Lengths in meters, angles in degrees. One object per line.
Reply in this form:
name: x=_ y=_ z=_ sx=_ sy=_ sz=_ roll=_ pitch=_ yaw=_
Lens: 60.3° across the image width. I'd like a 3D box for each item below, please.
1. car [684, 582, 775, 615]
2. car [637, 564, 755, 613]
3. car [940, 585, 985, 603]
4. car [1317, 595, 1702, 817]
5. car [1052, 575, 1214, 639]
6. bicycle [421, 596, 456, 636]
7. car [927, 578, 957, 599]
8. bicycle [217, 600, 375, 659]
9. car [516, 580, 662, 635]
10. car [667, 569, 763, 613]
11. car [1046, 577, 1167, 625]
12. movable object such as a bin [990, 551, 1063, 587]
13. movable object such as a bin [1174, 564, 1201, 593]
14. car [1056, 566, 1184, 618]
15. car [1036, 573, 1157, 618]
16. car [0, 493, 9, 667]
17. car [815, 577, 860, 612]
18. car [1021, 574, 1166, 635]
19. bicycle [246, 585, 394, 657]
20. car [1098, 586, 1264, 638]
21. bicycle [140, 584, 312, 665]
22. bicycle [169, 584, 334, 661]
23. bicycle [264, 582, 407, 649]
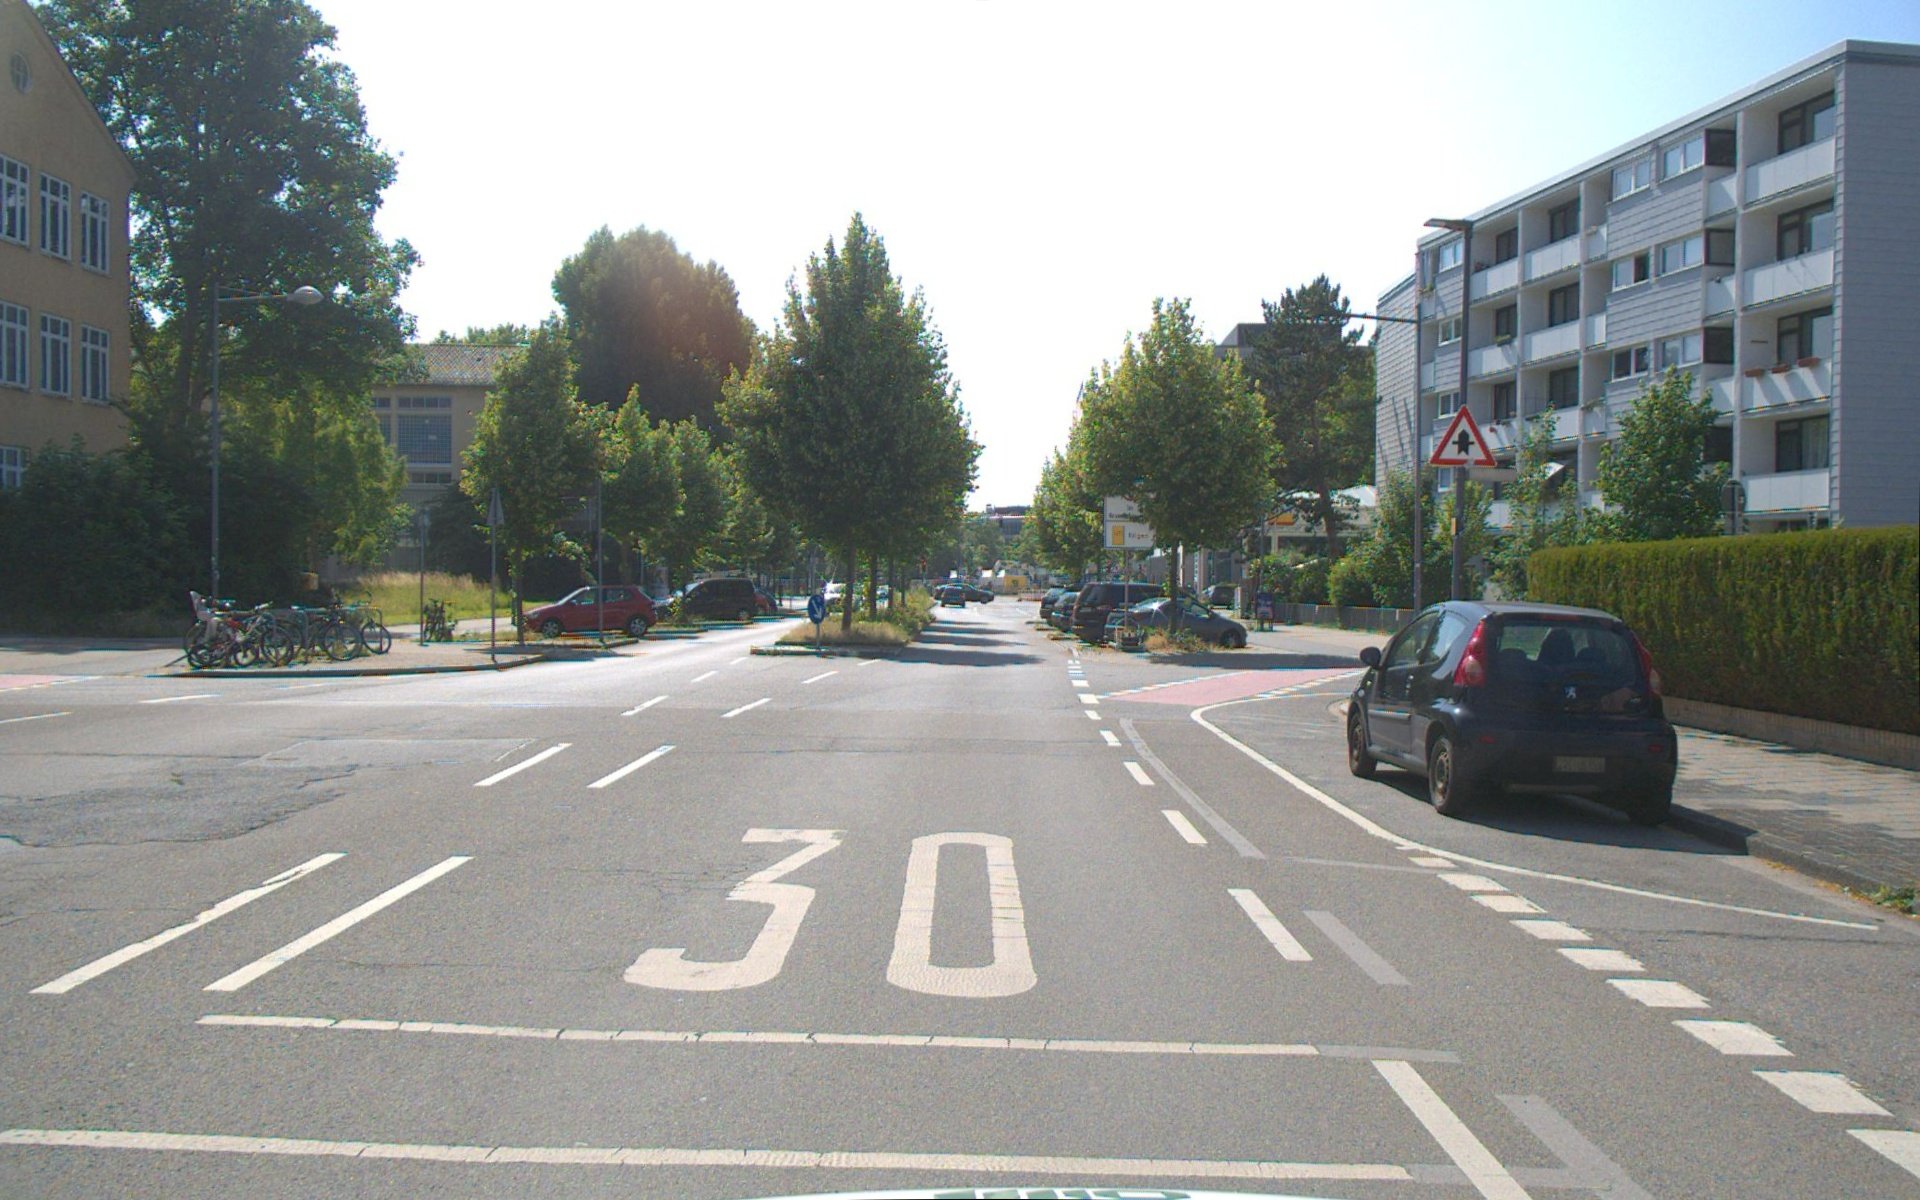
car: x=-10.459 y=-0.060 z=75.115 sx=3.799 sy=1.448 sz=1.694 roll=0 pitch=0 yaw=-36
car: x=-10.249 y=-0.473 z=64.429 sx=4.145 sy=1.848 sz=1.978 roll=-1 pitch=2 yaw=-38
car: x=0.189 y=-0.512 z=132.281 sx=3.530 sy=1.401 sz=1.637 roll=1 pitch=0 yaw=-2
car: x=4.077 y=0.698 z=12.966 sx=1.584 sy=1.414 sz=3.999 roll=2 pitch=0 yaw=-1
car: x=4.743 y=0.176 z=45.280 sx=4.069 sy=1.668 sz=2.021 roll=0 pitch=1 yaw=-33
bicycle: x=-12.542 y=0.377 z=39.820 sx=0.510 sy=0.919 sz=1.269 roll=-1 pitch=0 yaw=-4
car: x=-1.280 y=-0.790 z=116.538 sx=1.954 sy=1.422 sz=3.998 roll=1 pitch=1 yaw=-3
bicycle: x=-11.898 y=0.521 z=29.691 sx=2.493 sy=1.005 sz=0.739 roll=-1 pitch=1 yaw=-2
car: x=-10.832 y=0.196 z=48.284 sx=3.929 sy=1.492 sz=1.988 roll=-1 pitch=1 yaw=-21
car: x=-10.425 y=-0.384 z=70.420 sx=3.717 sy=1.803 sz=1.804 roll=0 pitch=0 yaw=-27
car: x=5.174 y=0.025 z=58.561 sx=3.916 sy=1.668 sz=1.748 roll=0 pitch=0 yaw=-12
movable object such as a bin: x=8.838 y=-4.067 z=218.964 sx=9.474 sy=4.629 sz=3.165 roll=1 pitch=1 yaw=2
movable object such as a bin: x=13.307 y=-1.270 z=96.636 sx=1.281 sy=1.620 sz=1.395 roll=-2 pitch=0 yaw=-2
car: x=5.370 y=-0.277 z=55.650 sx=3.928 sy=1.668 sz=1.743 roll=0 pitch=1 yaw=-20
car: x=5.367 y=-0.188 z=64.751 sx=4.688 sy=1.689 sz=1.733 roll=0 pitch=1 yaw=-34
car: x=-17.261 y=-0.246 z=23.748 sx=5.986 sy=2.568 sz=2.285 roll=-1 pitch=1 yaw=5
car: x=-5.799 y=-0.273 z=78.743 sx=1.705 sy=1.574 sz=4.074 roll=-1 pitch=0 yaw=1
car: x=3.902 y=0.149 z=48.103 sx=3.953 sy=1.669 sz=1.858 roll=0 pitch=-2 yaw=-35
bicycle: x=-11.987 y=0.386 z=31.022 sx=2.464 sy=1.278 sz=0.739 roll=-1 pitch=1 yaw=-2
car: x=5.668 y=0.292 z=42.387 sx=3.937 sy=1.258 sz=1.739 roll=0 pitch=1 yaw=-26
bicycle: x=-12.220 y=0.396 z=27.576 sx=2.493 sy=1.278 sz=0.739 roll=-1 pitch=1 yaw=-2
bicycle: x=-12.214 y=0.376 z=28.560 sx=2.493 sy=1.261 sz=0.739 roll=-1 pitch=1 yaw=-2
bicycle: x=-12.177 y=0.298 z=32.280 sx=2.493 sy=1.278 sz=0.739 roll=0 pitch=1 yaw=-2
